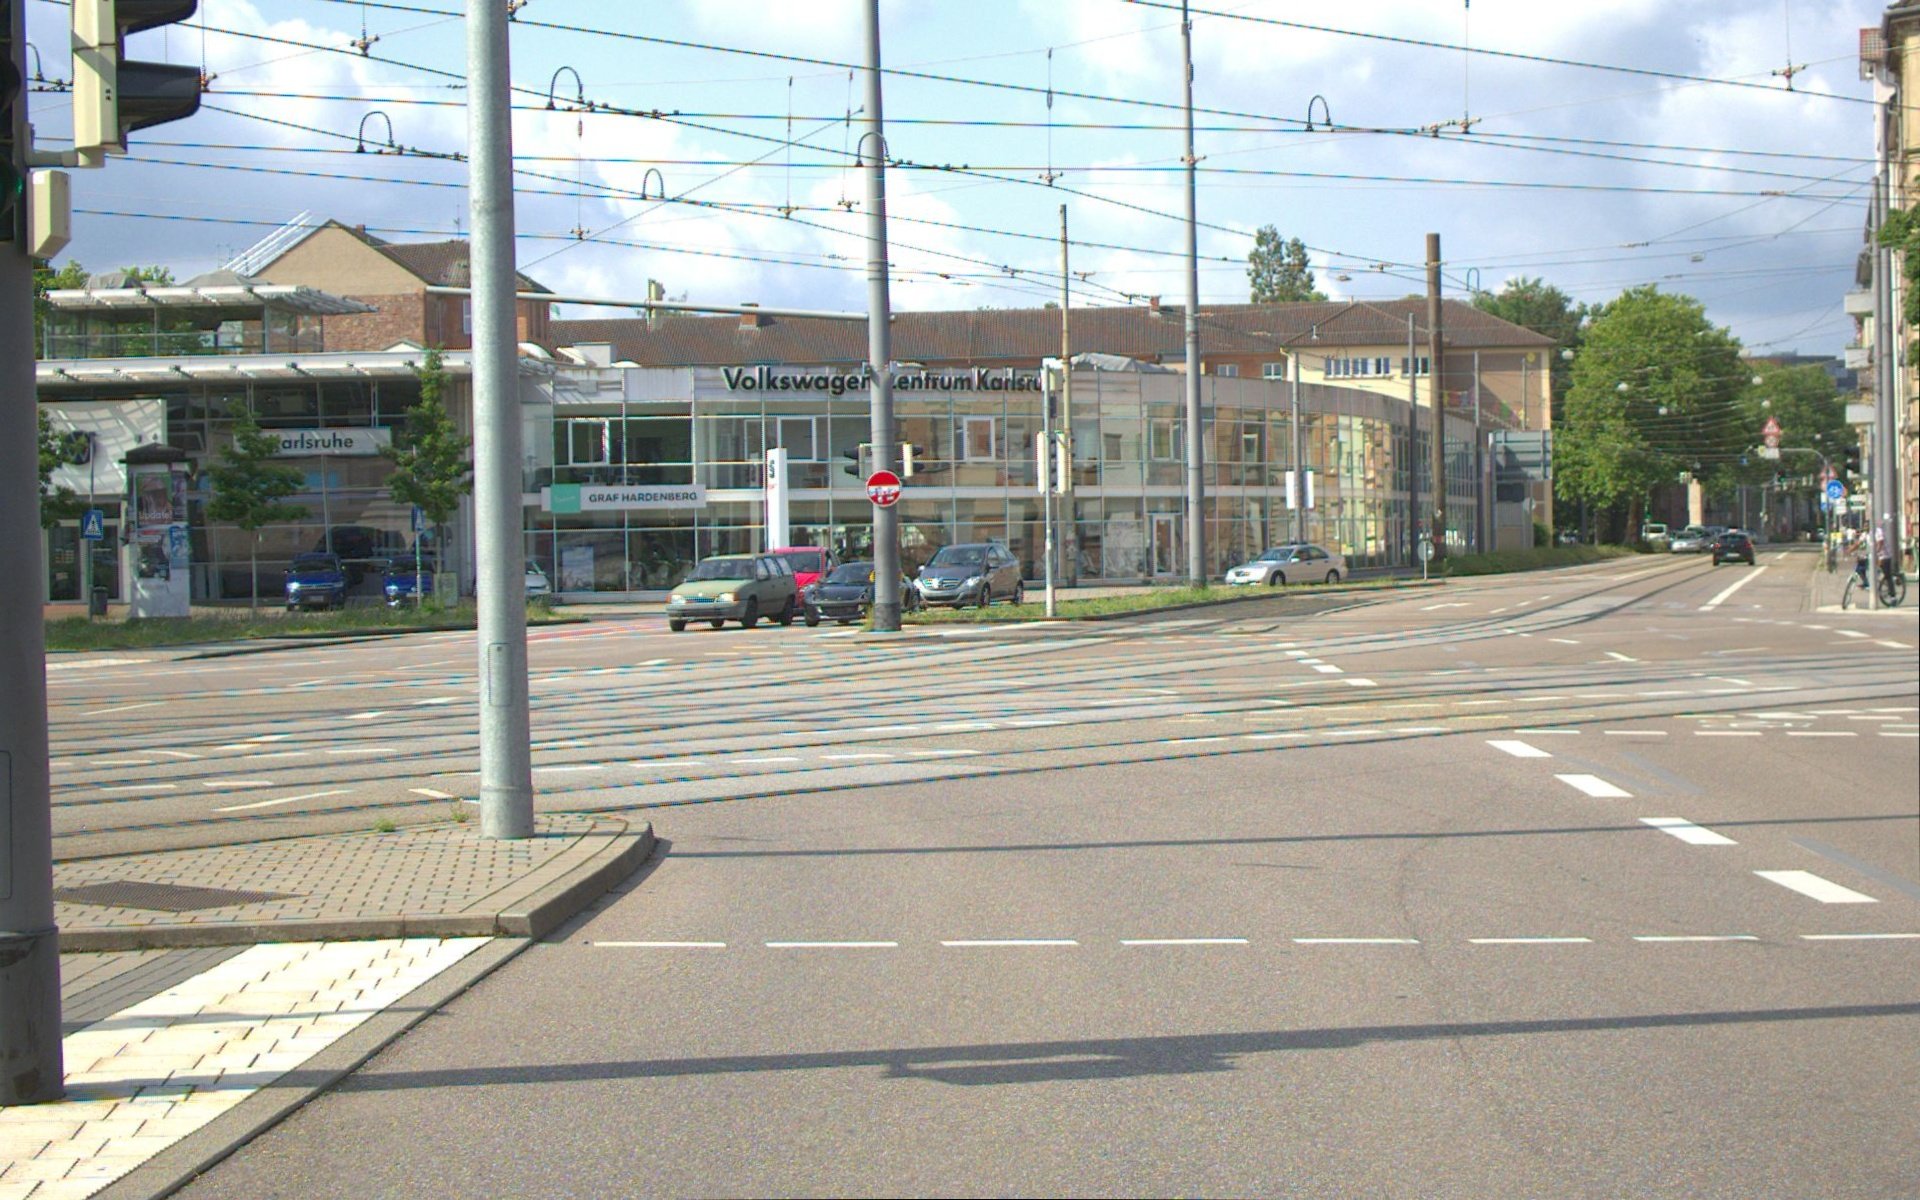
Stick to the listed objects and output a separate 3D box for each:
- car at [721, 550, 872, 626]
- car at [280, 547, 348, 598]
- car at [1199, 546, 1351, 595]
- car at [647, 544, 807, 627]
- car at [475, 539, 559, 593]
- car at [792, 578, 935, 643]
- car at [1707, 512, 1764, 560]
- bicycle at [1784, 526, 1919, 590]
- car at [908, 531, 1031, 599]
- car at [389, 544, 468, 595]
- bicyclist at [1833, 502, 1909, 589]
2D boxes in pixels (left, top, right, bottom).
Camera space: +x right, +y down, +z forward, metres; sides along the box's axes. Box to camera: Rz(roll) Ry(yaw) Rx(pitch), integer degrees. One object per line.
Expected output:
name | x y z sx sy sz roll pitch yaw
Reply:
car | -3.393 -0.266 72.139 1.995 1.514 3.997 1 1 15
car | -19.212 -0.831 102.259 1.919 1.440 4.001 -1 1 -10
car | 9.752 -0.916 106.388 4.467 1.459 1.782 0 1 -30
car | -4.426 -0.299 65.832 1.822 1.508 3.997 1 1 15
car | -13.386 -1.046 104.035 1.919 1.546 4.000 -1 1 1
car | -1.801 0.188 65.575 1.622 1.157 3.997 1 1 15
car | 33.054 -2.724 146.398 1.995 2.007 3.997 -1 1 18
bicycle | 17.384 -0.819 66.491 2.671 1.166 0.901 -1 1 -7
car | 0.256 -0.853 82.330 1.995 1.546 3.997 -1 1 15
car | -15.752 -0.916 102.041 1.919 1.440 4.001 -1 1 -3
bicyclist | 17.617 -1.059 66.491 1.193 1.652 0.786 -1 1 -7
